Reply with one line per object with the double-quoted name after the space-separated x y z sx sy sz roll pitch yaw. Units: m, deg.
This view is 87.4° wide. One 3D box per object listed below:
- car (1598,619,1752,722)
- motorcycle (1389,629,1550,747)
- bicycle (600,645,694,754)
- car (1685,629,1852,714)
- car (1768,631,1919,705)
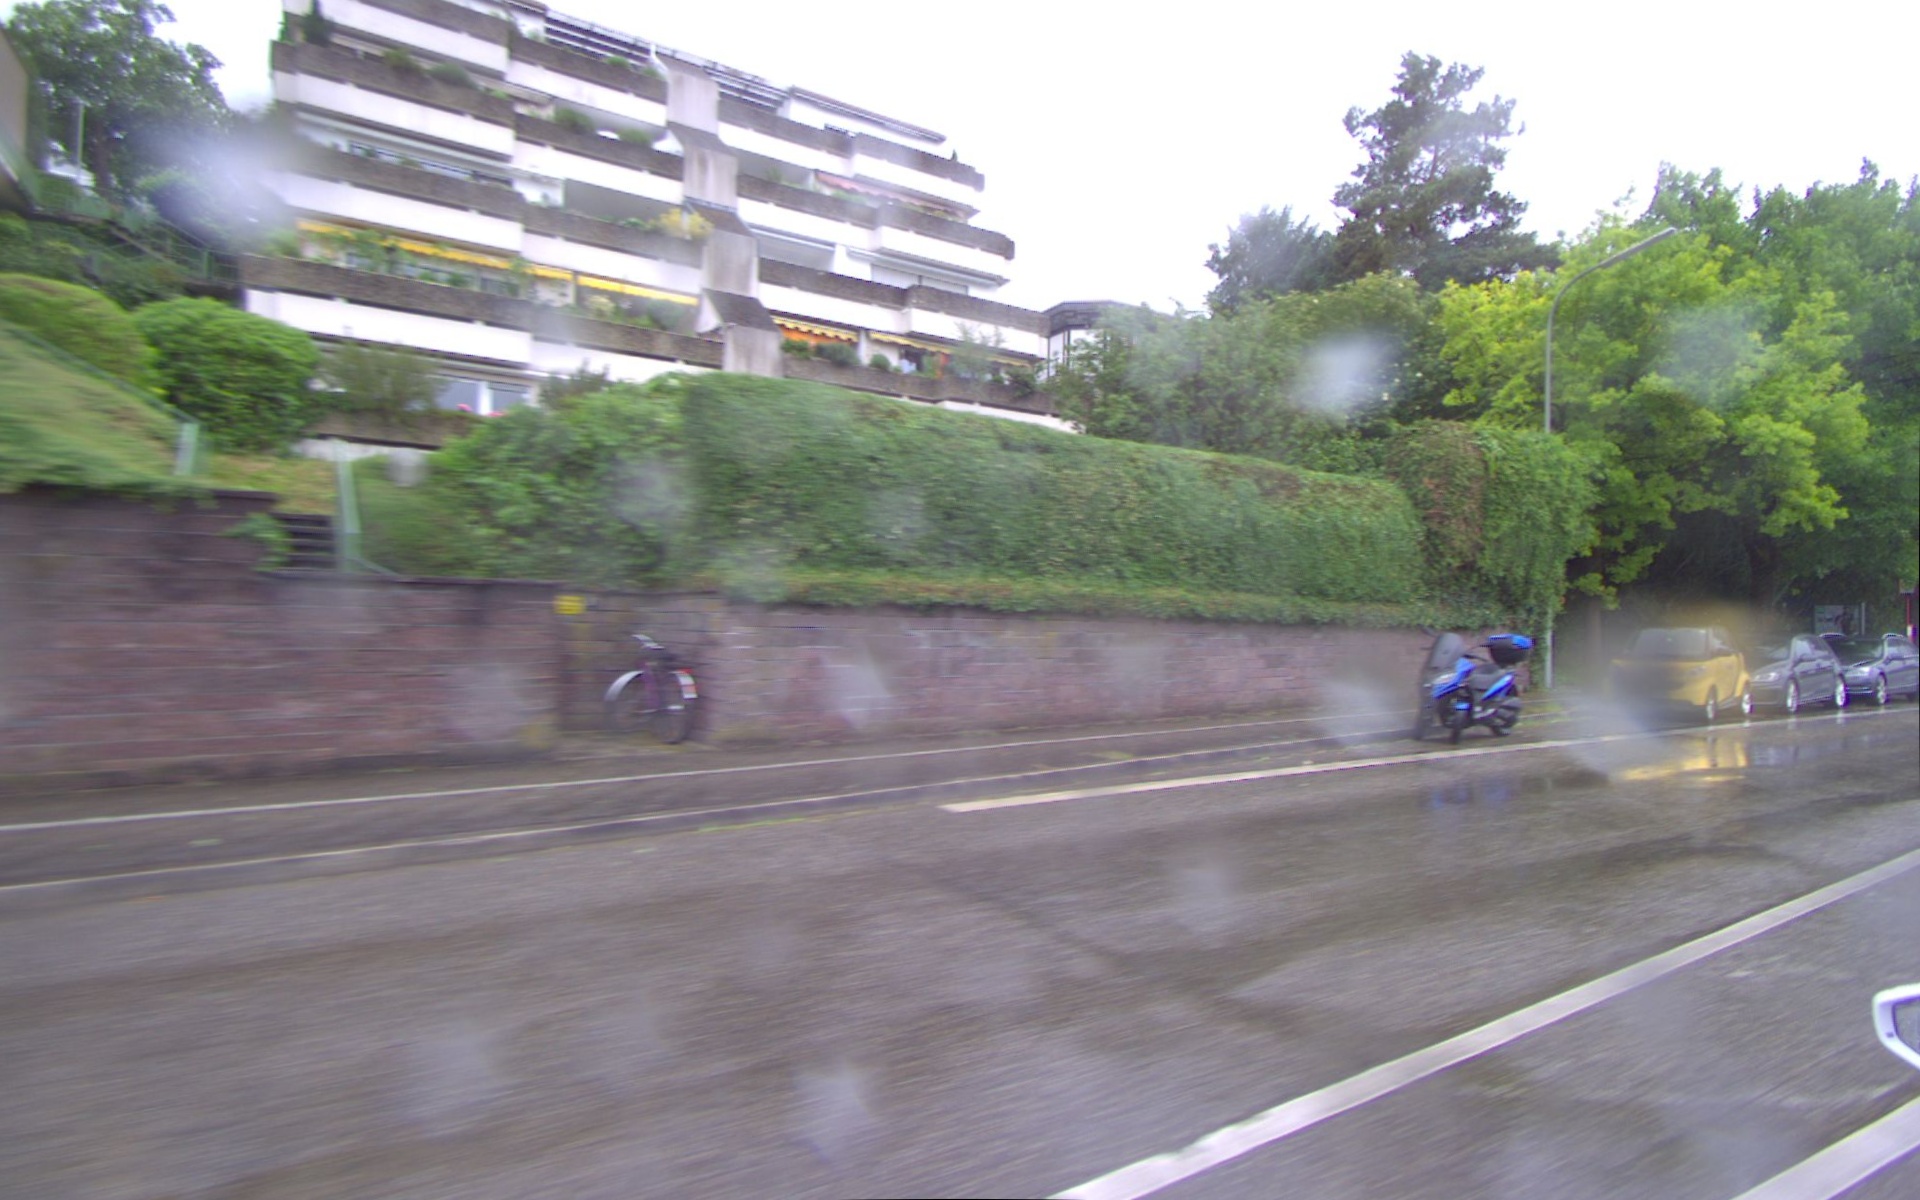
11.907 1.119 16.690 2.796 1.557 1.422 2 -2 -39 "car"
6.482 1.062 12.710 2.476 1.359 0.831 2 -2 -37 "motorcycle"
-3.209 0.973 10.226 0.465 0.942 1.474 2 0 -35 "bicycle"
15.207 1.289 18.836 4.064 1.438 1.423 2 -2 -36 "car"
19.498 1.435 21.822 4.691 1.438 1.677 2 -2 -33 "car"
